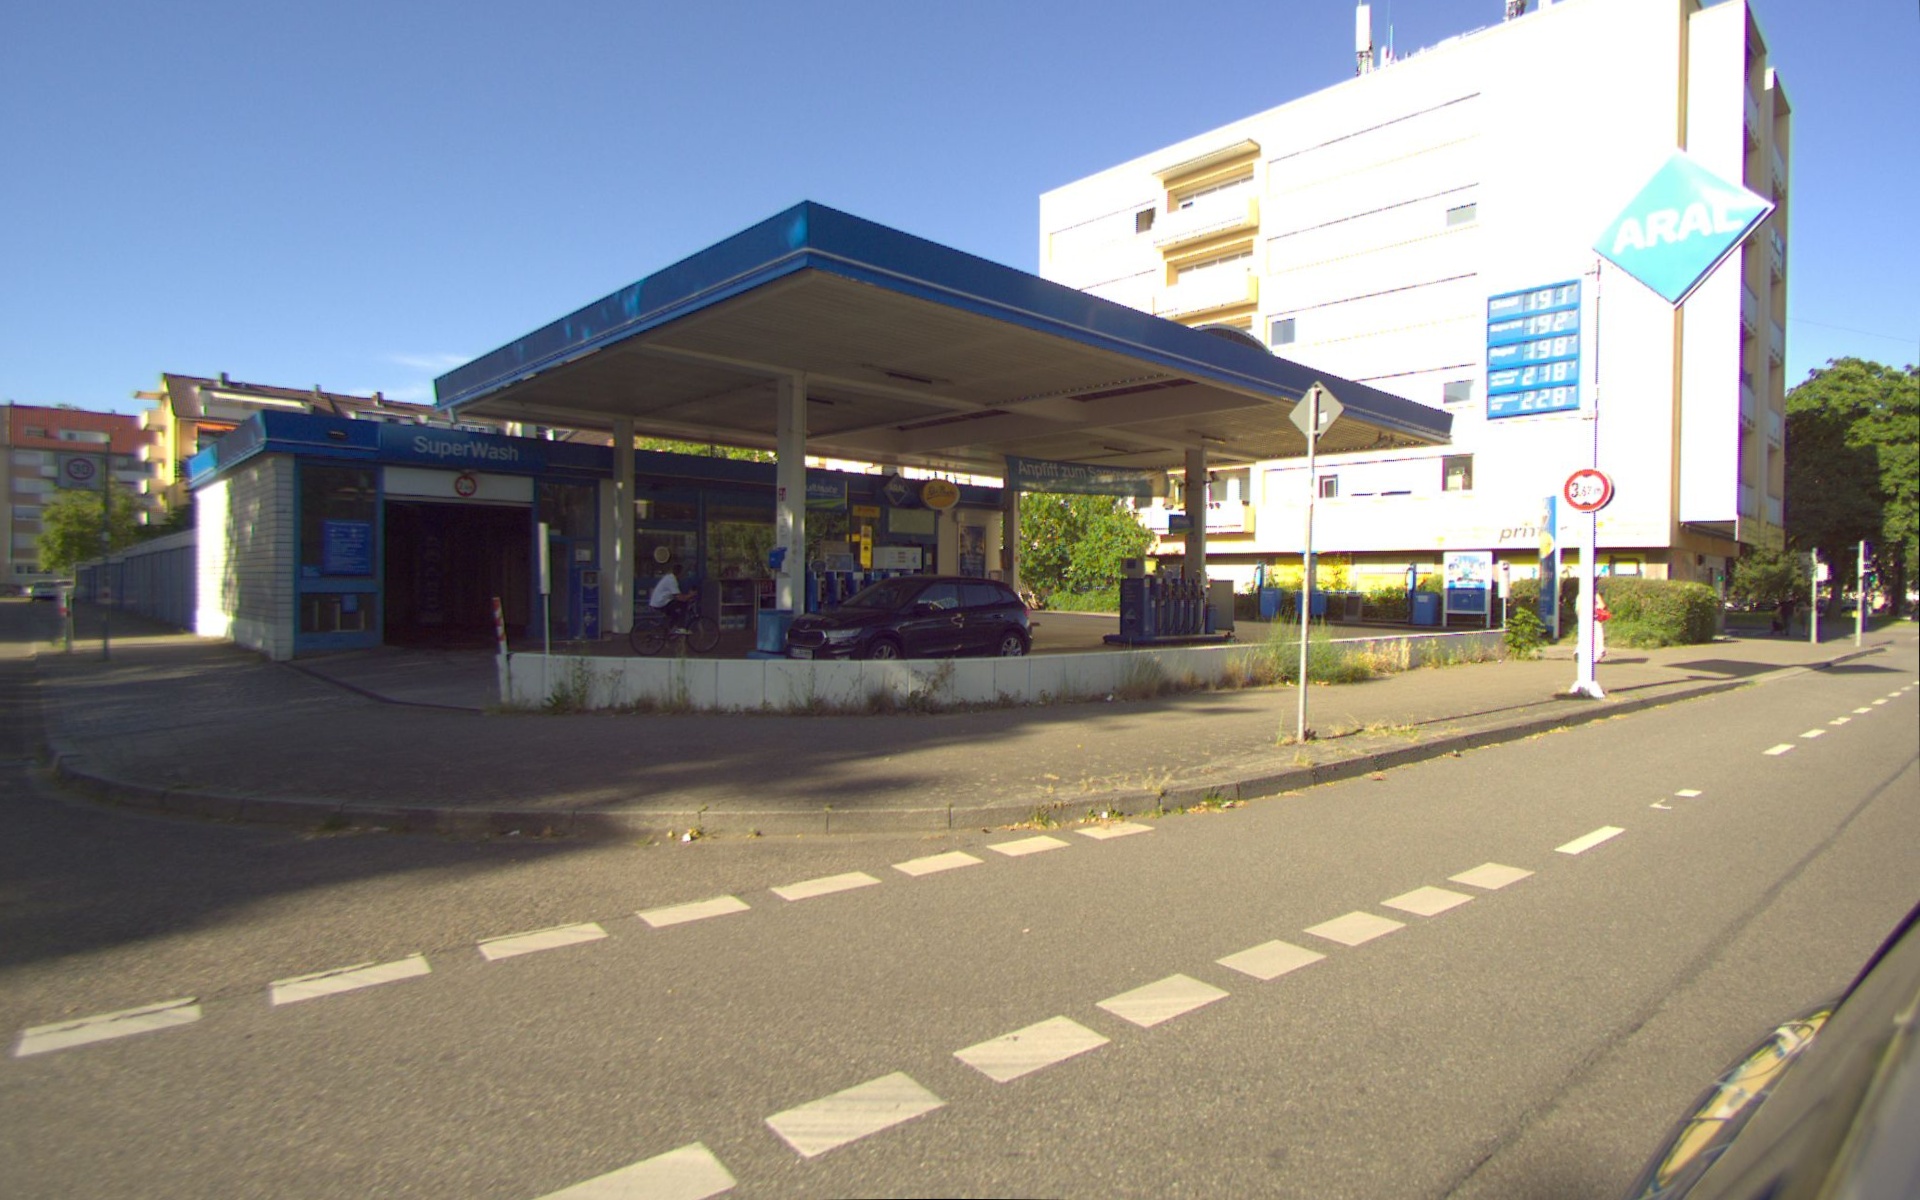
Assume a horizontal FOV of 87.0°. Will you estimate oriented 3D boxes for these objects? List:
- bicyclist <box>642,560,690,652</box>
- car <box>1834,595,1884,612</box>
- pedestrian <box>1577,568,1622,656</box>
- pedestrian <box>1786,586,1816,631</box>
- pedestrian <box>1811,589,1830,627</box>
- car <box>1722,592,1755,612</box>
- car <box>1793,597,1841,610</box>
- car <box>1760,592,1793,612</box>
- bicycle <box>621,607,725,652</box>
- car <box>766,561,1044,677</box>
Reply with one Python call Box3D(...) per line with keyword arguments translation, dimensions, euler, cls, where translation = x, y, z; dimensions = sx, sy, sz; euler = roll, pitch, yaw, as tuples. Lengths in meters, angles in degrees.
Box3D(translation=(-5.075, 0.094, 17.471), dimensions=(0.618, 1.539, 0.539), euler=(0, 0, -42), cls="bicyclist")
Box3D(translation=(75.211, 0.242, 84.681), dimensions=(4.193, 1.340, 2.001), euler=(0, 1, -32), cls="car")
Box3D(translation=(12.776, 0.239, 20.214), dimensions=(0.542, 1.723, 0.606), euler=(0, 0, -37), cls="pedestrian")
Box3D(translation=(35.887, 0.331, 43.193), dimensions=(0.784, 1.850, 1.022), euler=(2, 2, 32), cls="pedestrian")
Box3D(translation=(36.407, 0.328, 42.826), dimensions=(0.501, 1.565, 0.514), euler=(2, 2, 32), cls="pedestrian")
Box3D(translation=(72.103, 0.159, 93.751), dimensions=(1.985, 1.720, 4.228), euler=(2, 1, 32), cls="car")
Box3D(translation=(73.973, 0.285, 87.314), dimensions=(4.193, 1.080, 2.001), euler=(0, 1, -32), cls="car")
Box3D(translation=(73.303, 0.162, 90.905), dimensions=(1.987, 1.720, 4.223), euler=(1, 1, 35), cls="car")
Box3D(translation=(-4.969, 0.494, 17.573), dimensions=(1.679, 0.724, 0.539), euler=(0, 1, -43), cls="bicycle")
Box3D(translation=(-0.709, 0.225, 14.901), dimensions=(3.939, 1.481, 1.722), euler=(0, 1, -44), cls="car")
